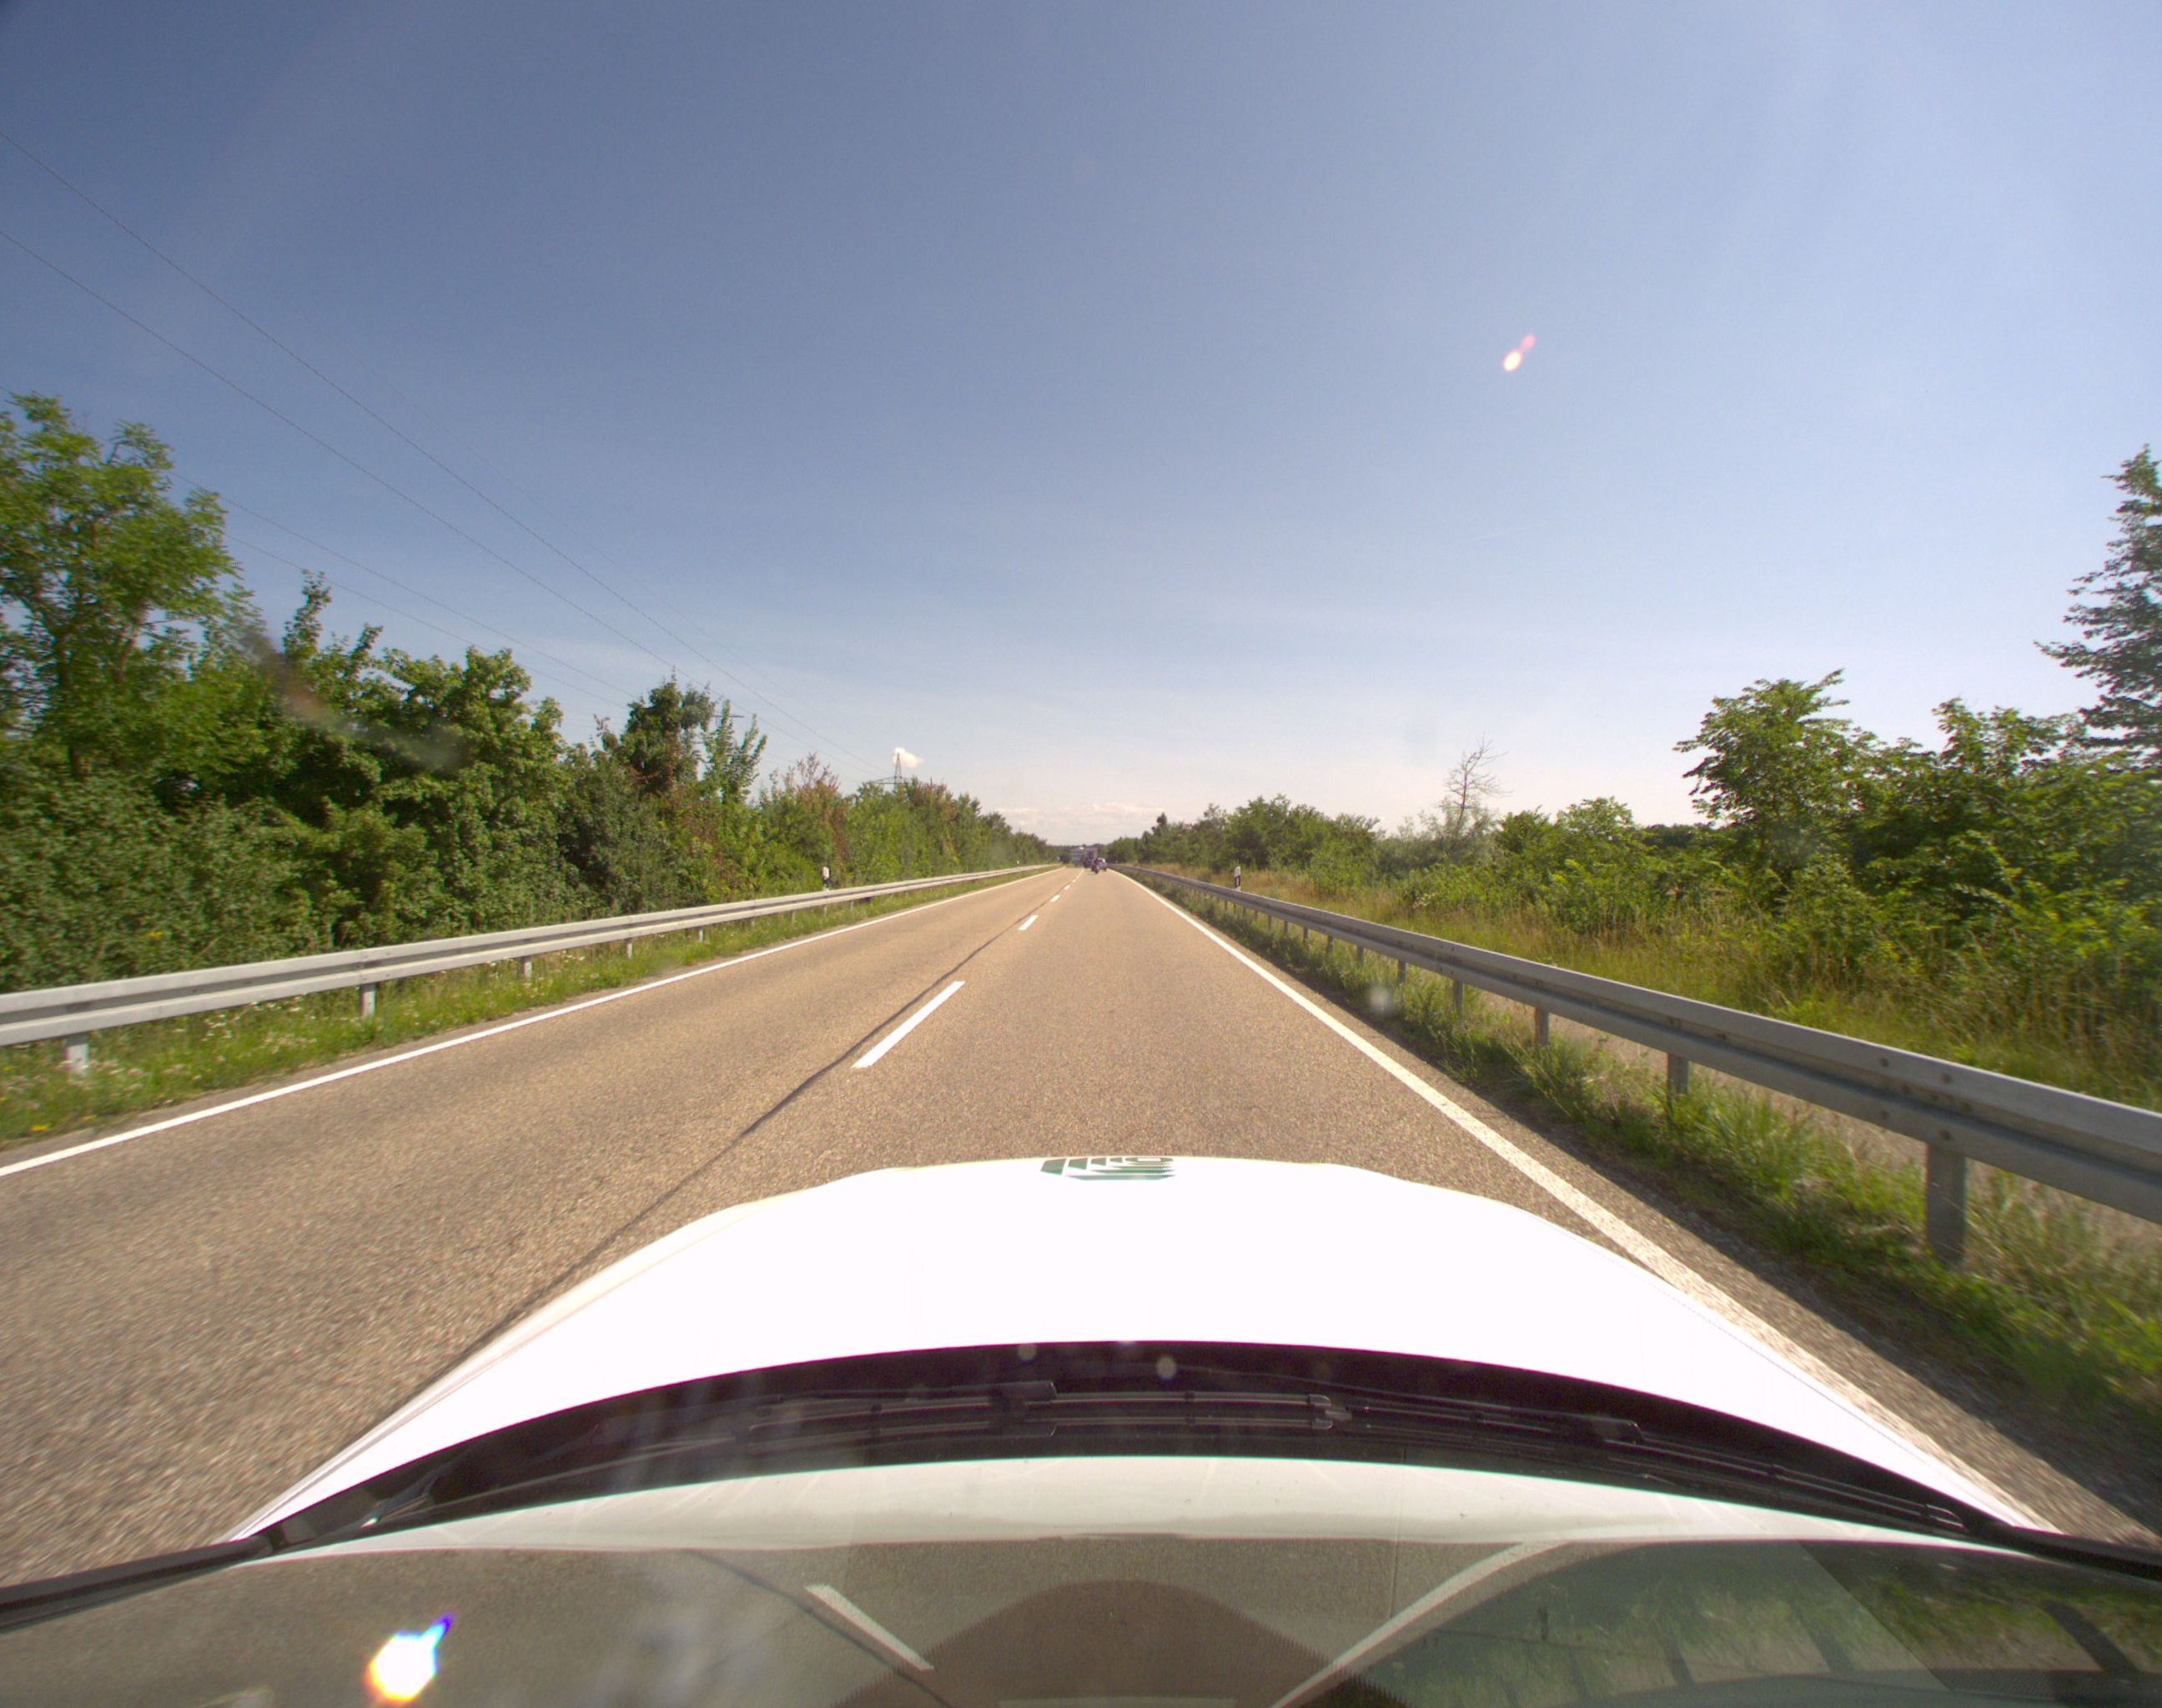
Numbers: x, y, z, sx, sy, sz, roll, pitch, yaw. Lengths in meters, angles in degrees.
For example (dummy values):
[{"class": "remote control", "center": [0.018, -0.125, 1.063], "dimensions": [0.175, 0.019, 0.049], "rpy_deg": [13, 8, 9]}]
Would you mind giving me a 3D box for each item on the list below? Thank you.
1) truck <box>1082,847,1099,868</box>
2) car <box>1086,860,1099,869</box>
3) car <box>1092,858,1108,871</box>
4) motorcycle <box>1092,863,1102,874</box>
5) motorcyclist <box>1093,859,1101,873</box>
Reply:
[{"class": "truck", "center": [1.798, 0.631, 159.087], "dimensions": [3.231, 3.978, 9.442], "rpy_deg": [0, 0, 0]}, {"class": "car", "center": [1.841, 1.642, 132.262], "dimensions": [1.858, 1.420, 4.004], "rpy_deg": [0, 1, 4]}, {"class": "car", "center": [2.275, 1.283, 99.525], "dimensions": [1.820, 1.451, 4.000], "rpy_deg": [0, 1, 0]}, {"class": "motorcycle", "center": [1.538, 1.434, 78.830], "dimensions": [0.777, 0.975, 2.364], "rpy_deg": [0, 1, 4]}, {"class": "motorcyclist", "center": [1.548, 1.142, 78.848], "dimensions": [0.777, 1.325, 0.814], "rpy_deg": [0, 0, 4]}]
